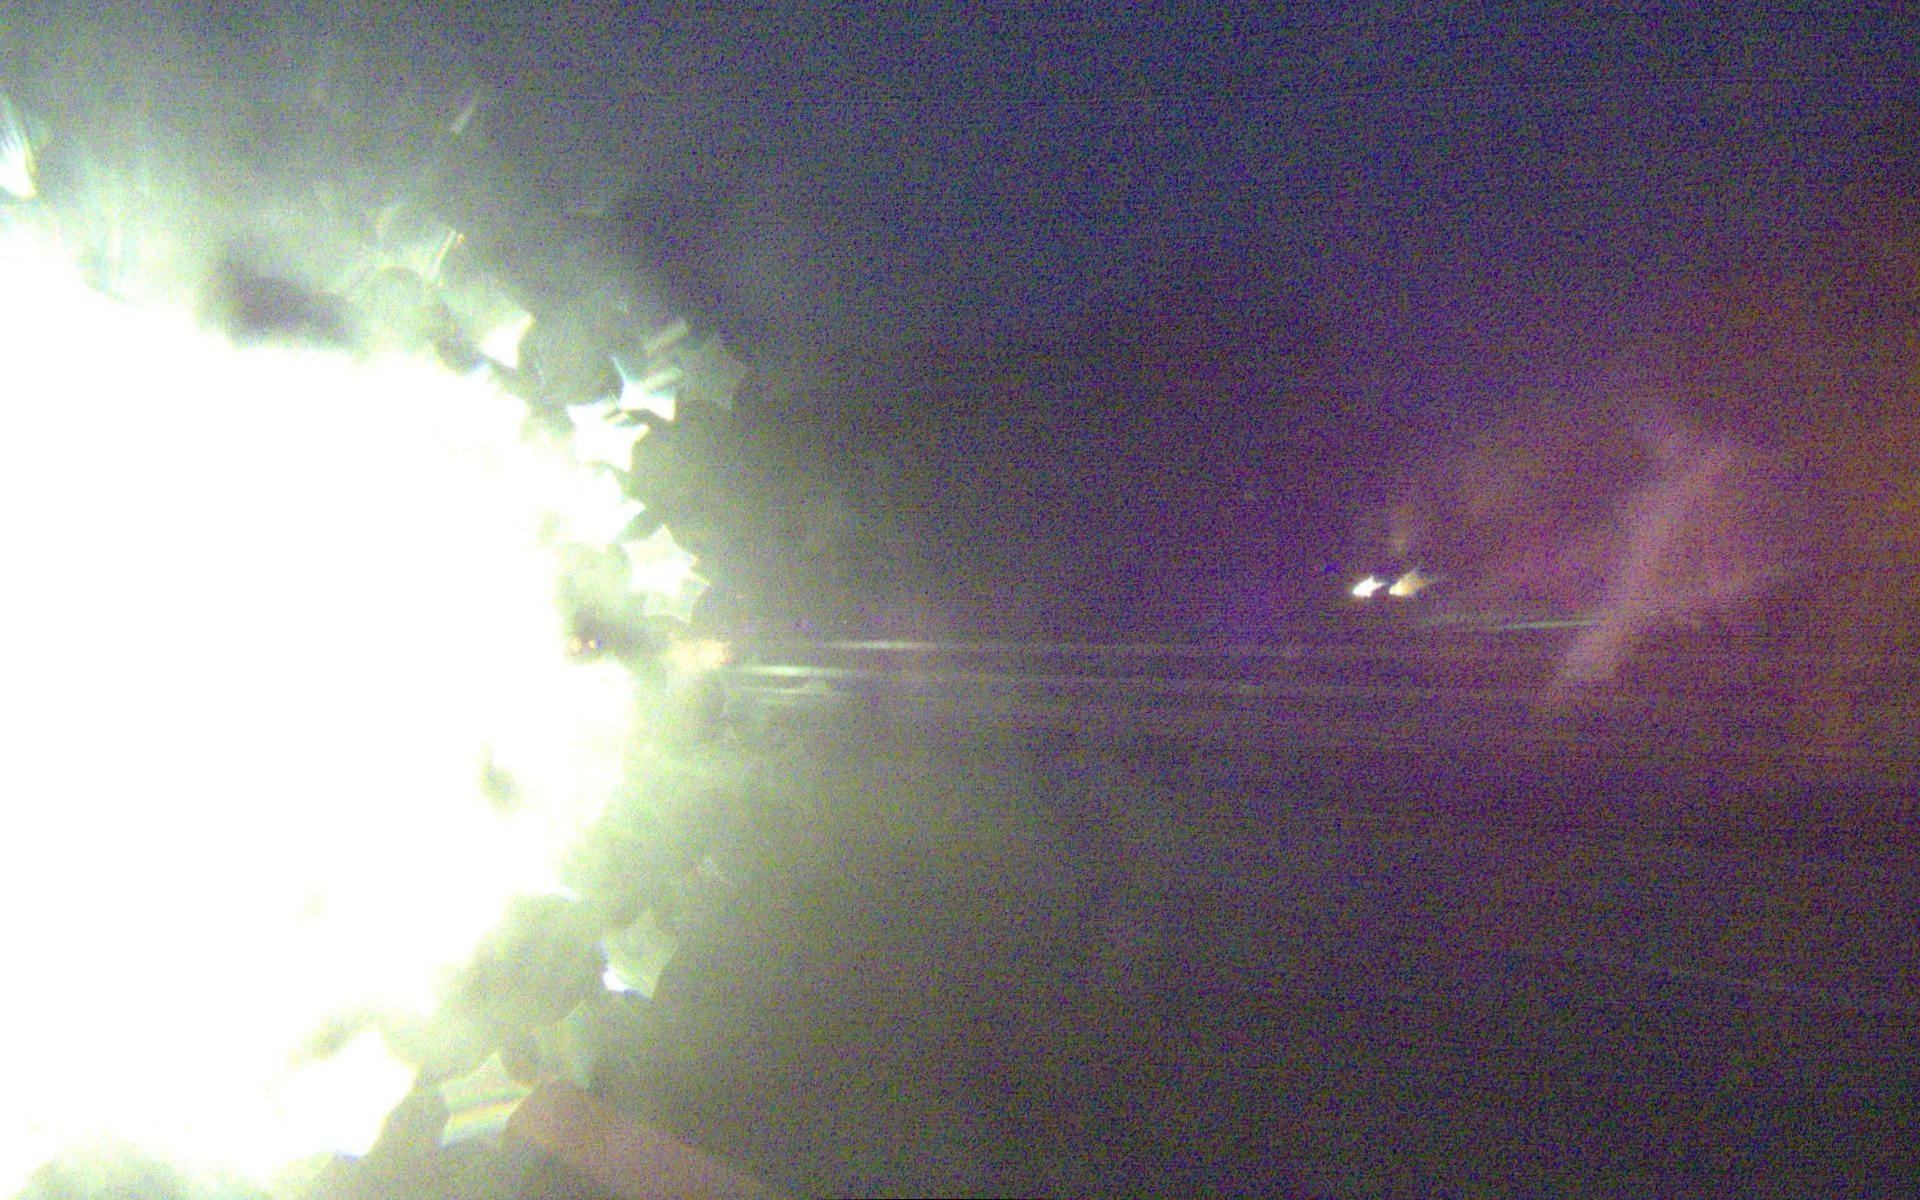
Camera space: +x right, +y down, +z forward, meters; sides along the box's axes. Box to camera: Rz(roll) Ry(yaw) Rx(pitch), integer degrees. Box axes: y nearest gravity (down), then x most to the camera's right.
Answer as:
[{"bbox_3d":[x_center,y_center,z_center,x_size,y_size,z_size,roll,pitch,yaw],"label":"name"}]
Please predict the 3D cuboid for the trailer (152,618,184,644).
[{"bbox_3d":[-114.205,4.367,145.934,2.578,3.499,10.456,1,-1,-43],"label":"trailer"}]

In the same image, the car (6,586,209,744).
[{"bbox_3d":[-13.337,0.945,15.742,4.461,2.121,1.731,-1,-3,42],"label":"car"}]

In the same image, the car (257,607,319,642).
[{"bbox_3d":[-41.076,1.485,61.847,4.808,2.029,1.973,0,-1,41],"label":"car"}]

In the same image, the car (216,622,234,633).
[{"bbox_3d":[-112.468,4.201,154.897,1.808,1.726,4.006,1,-1,-41],"label":"car"}]

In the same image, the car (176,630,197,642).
[{"bbox_3d":[-90.440,4.200,118.283,3.245,1.352,1.585,0,1,45],"label":"car"}]
